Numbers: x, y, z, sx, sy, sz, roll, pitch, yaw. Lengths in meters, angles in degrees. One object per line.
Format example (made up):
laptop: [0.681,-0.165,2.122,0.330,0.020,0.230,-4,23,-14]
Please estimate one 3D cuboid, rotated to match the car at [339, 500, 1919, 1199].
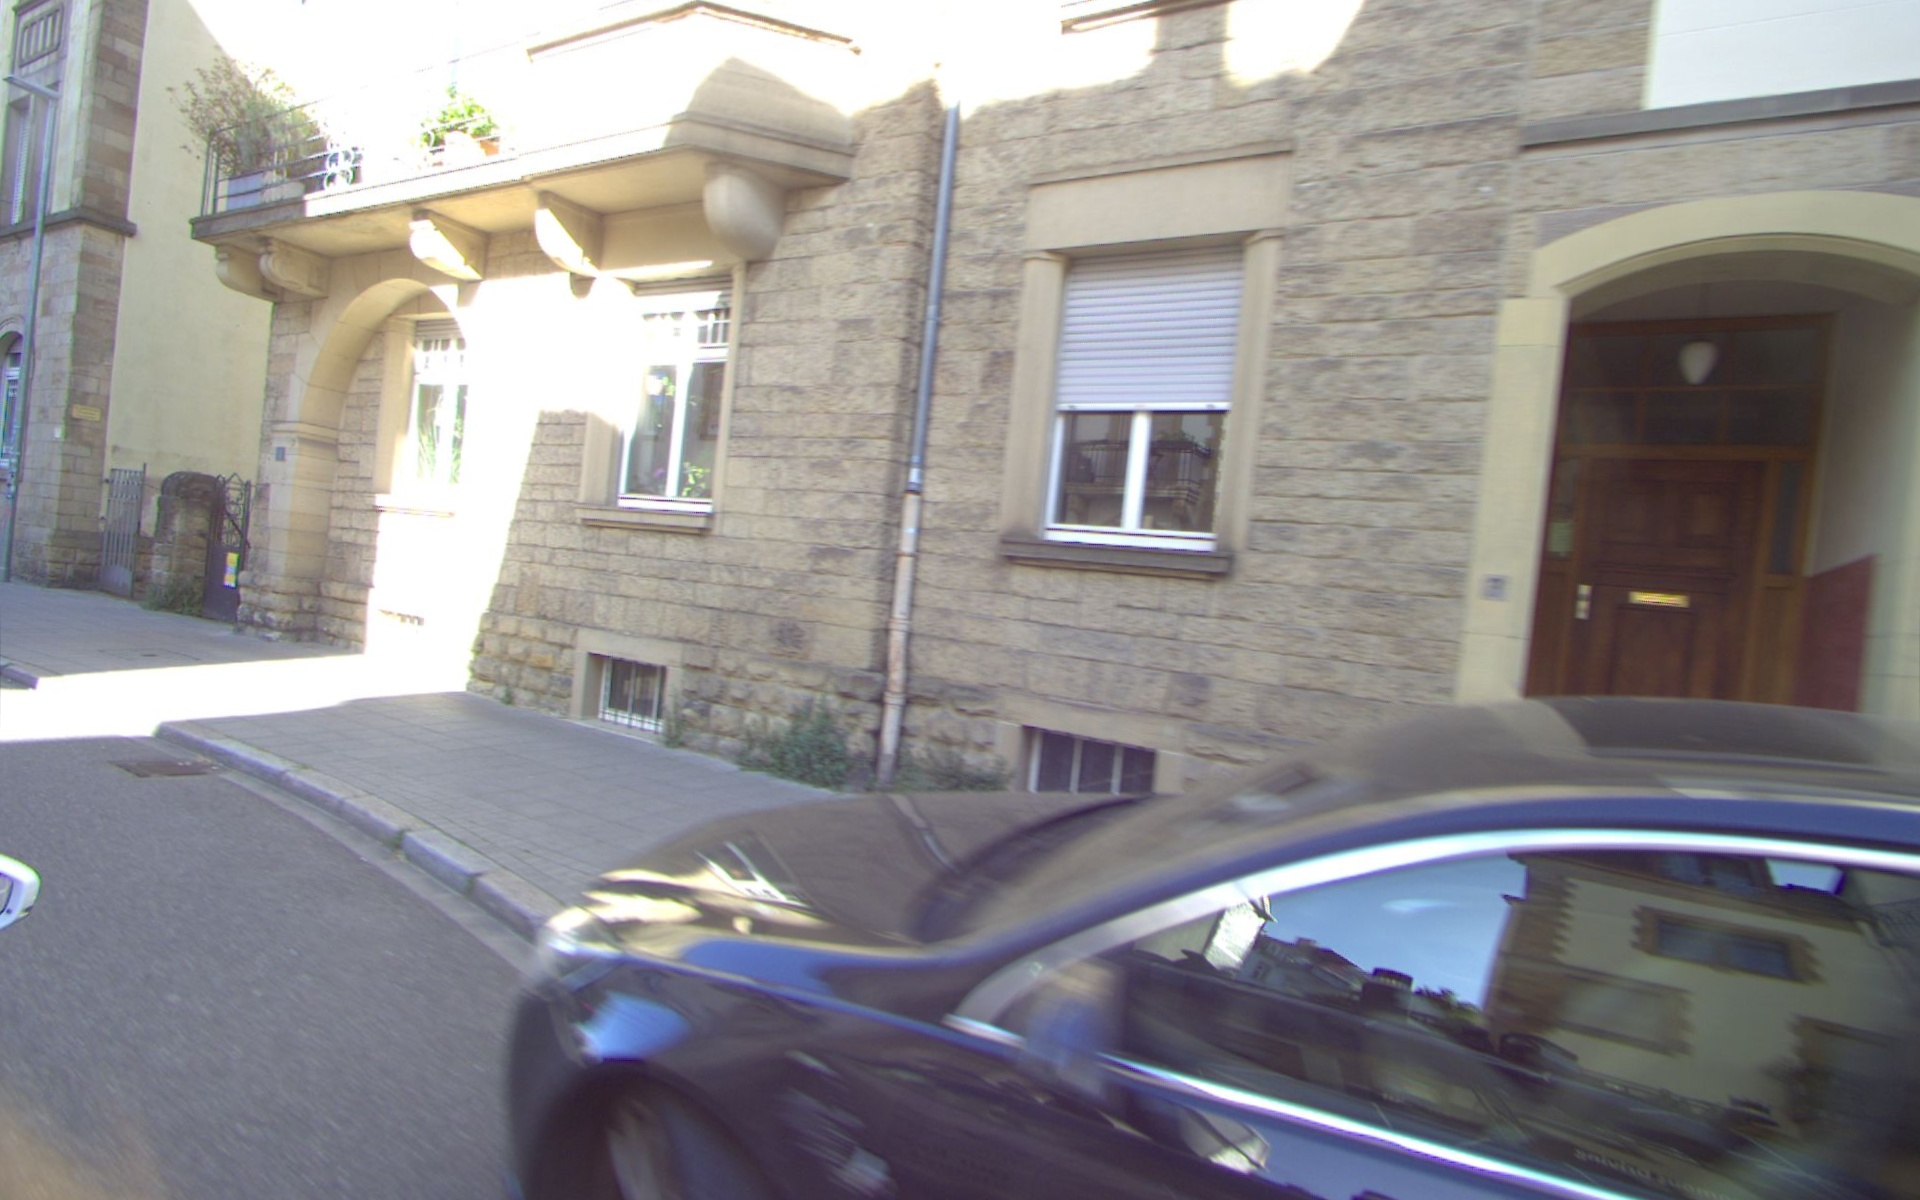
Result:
car: [1.090,0.814,1.761,4.266,1.481,1.868,7,1,31]
